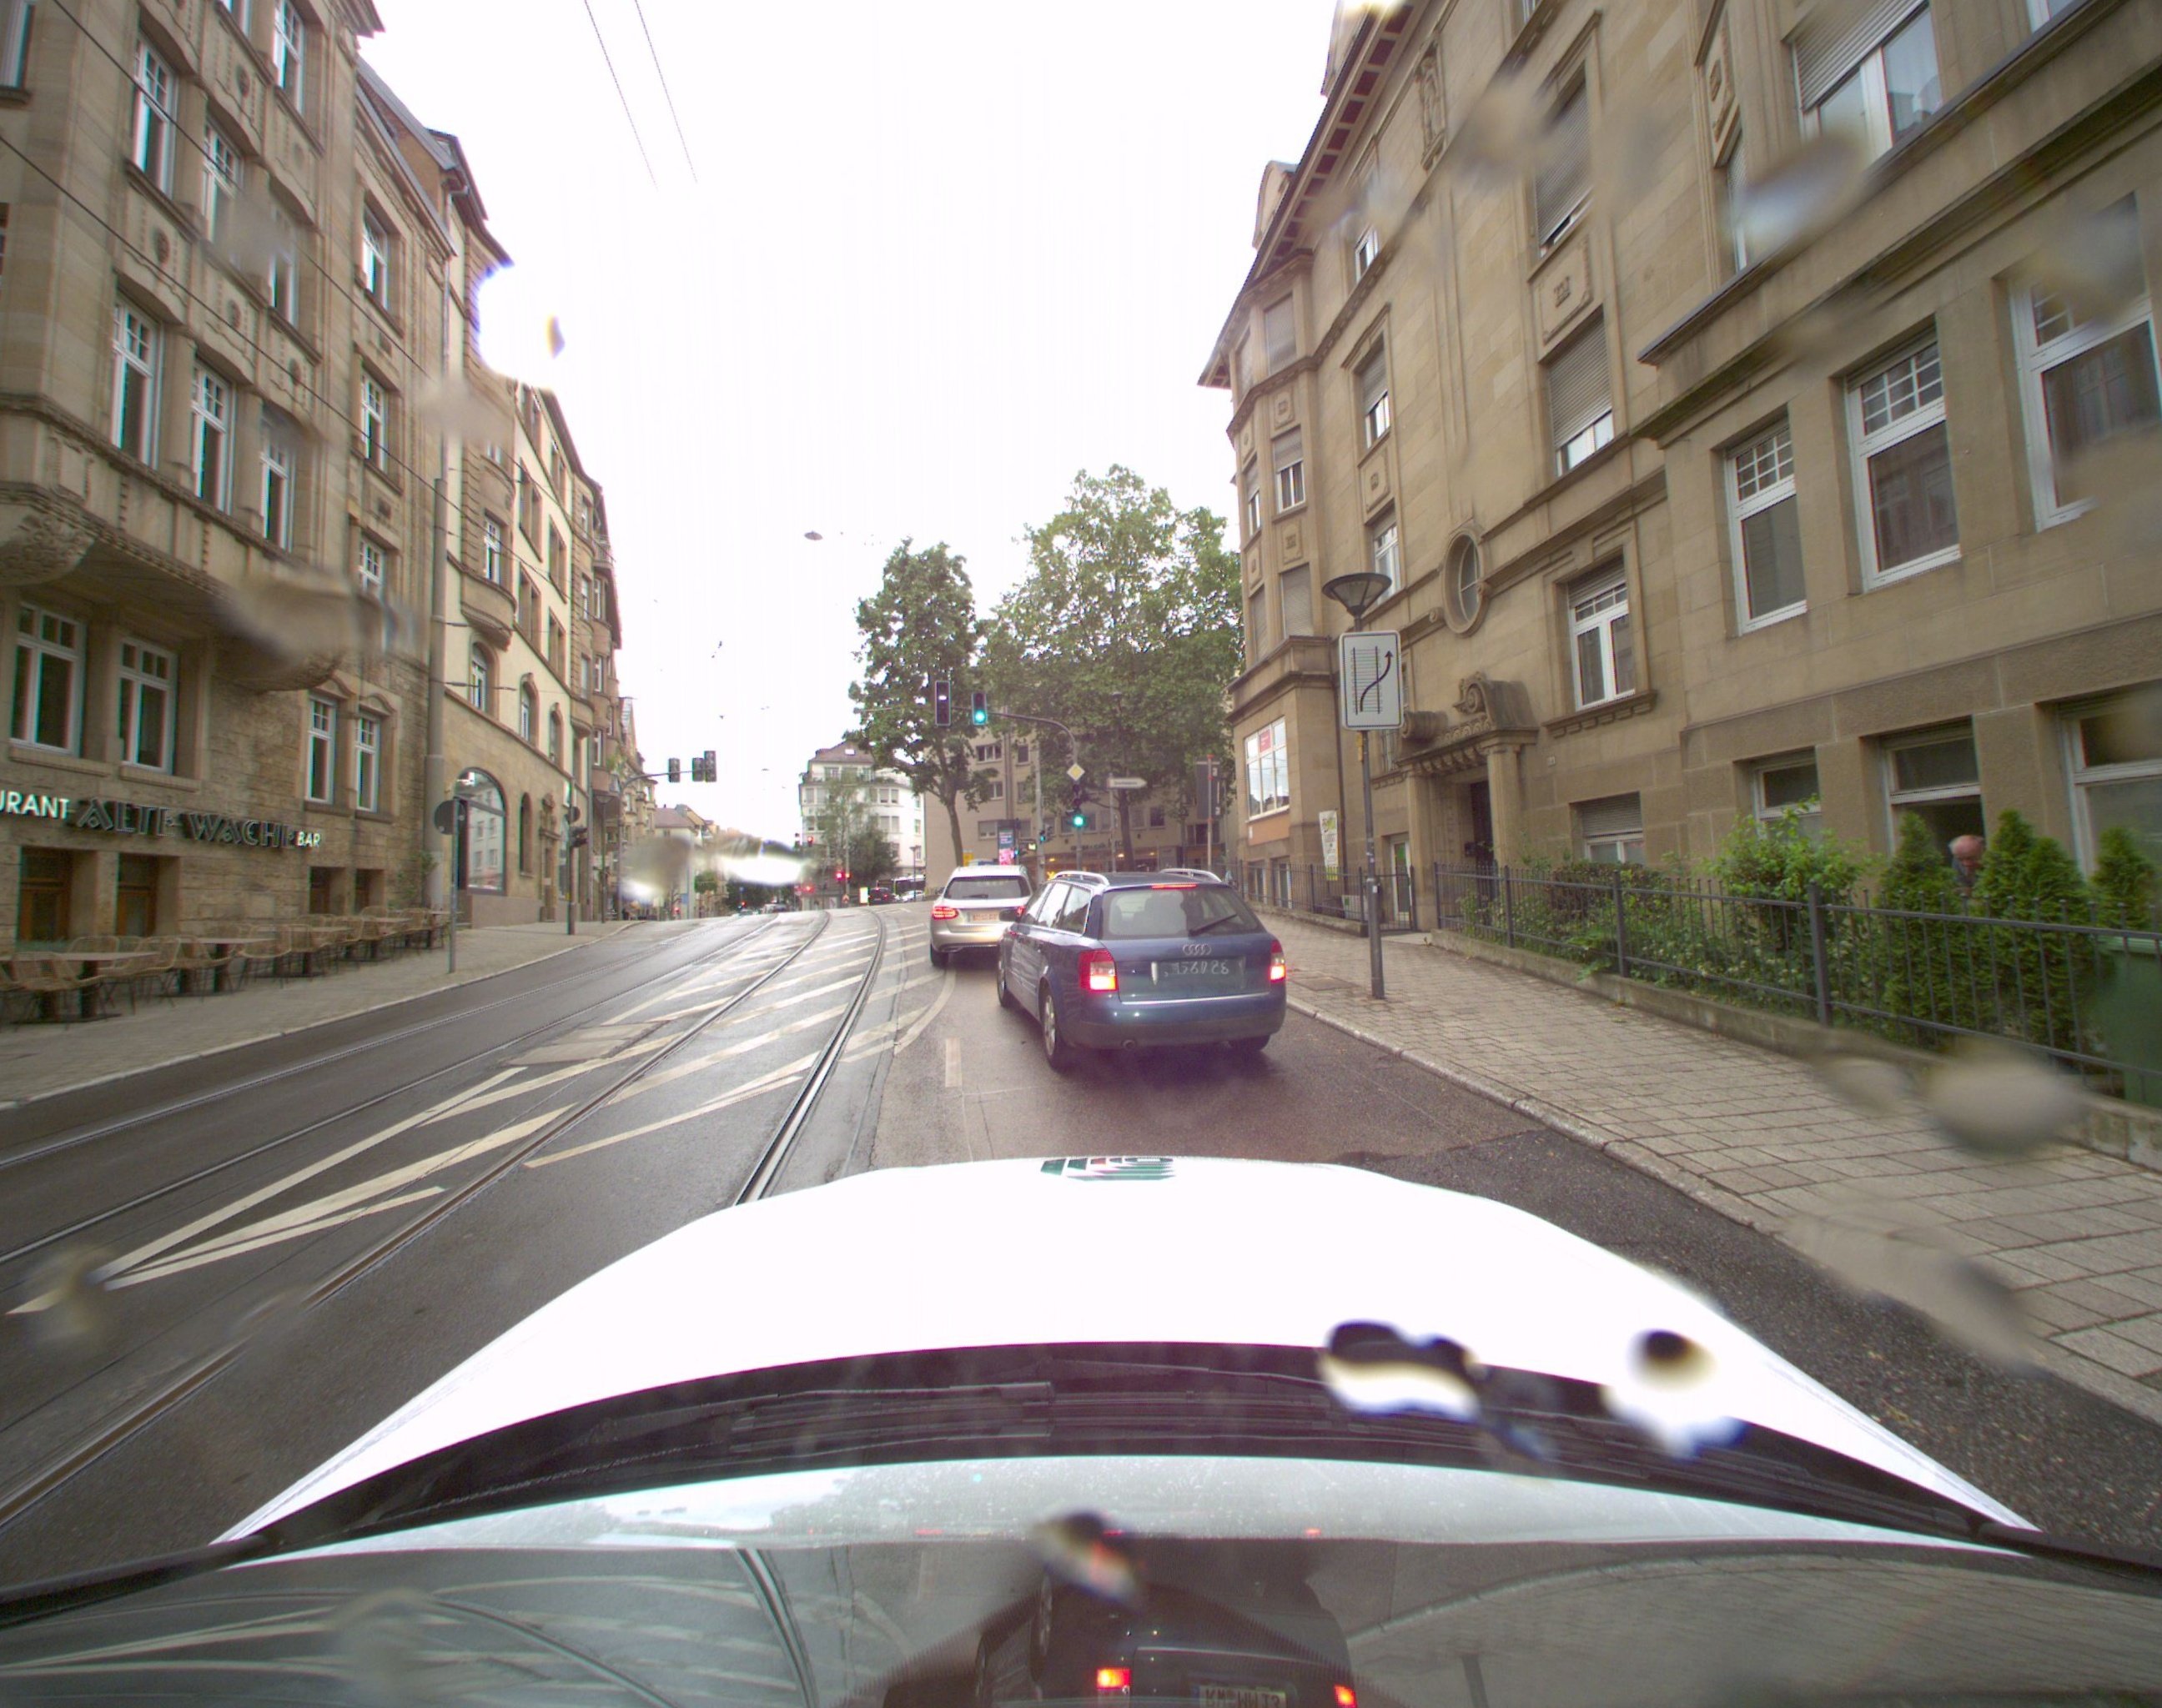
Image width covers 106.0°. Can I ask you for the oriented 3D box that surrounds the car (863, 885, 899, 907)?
[{"bbox_3d":[-16.713,3.473,68.256,1.788,1.510,4.000,-5,0,1],"label":"car"}]

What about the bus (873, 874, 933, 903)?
[{"bbox_3d":[-20.669,3.918,95.025,2.832,2.861,8.771,-3,0,16],"label":"bus"}]

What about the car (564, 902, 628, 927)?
[{"bbox_3d":[-36.842,4.570,61.947,4.008,1.510,1.785,-2,0,-26],"label":"car"}]

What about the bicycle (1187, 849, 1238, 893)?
[{"bbox_3d":[3.839,0.497,23.731,1.300,1.173,0.524,-4,0,-11],"label":"bicycle"}]

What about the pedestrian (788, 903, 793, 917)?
[{"bbox_3d":[-37.513,7.225,105.216,0.650,1.661,0.646,-1,-1,-18],"label":"pedestrian"}]

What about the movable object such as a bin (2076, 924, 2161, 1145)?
[{"bbox_3d":[5.402,0.875,3.909,0.537,1.026,0.602,2,-2,-10],"label":"movable object such as a bin"}]

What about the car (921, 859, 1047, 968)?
[{"bbox_3d":[-1.500,0.827,13.093,1.708,1.456,3.546,-1,0,-5],"label":"car"}]

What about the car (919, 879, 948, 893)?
[{"bbox_3d":[-18.535,4.030,102.458,1.779,1.510,4.020,-3,0,20],"label":"car"}]

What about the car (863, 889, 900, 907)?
[{"bbox_3d":[-20.525,4.521,83.916,1.779,1.614,4.020,-3,0,20],"label":"car"}]

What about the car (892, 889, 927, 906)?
[{"bbox_3d":[-18.685,4.705,88.902,1.779,1.510,4.020,-3,0,20],"label":"car"}]

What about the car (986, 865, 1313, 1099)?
[{"bbox_3d":[0.270,0.845,7.344,1.713,1.415,4.016,-1,0,-14],"label":"car"}]
